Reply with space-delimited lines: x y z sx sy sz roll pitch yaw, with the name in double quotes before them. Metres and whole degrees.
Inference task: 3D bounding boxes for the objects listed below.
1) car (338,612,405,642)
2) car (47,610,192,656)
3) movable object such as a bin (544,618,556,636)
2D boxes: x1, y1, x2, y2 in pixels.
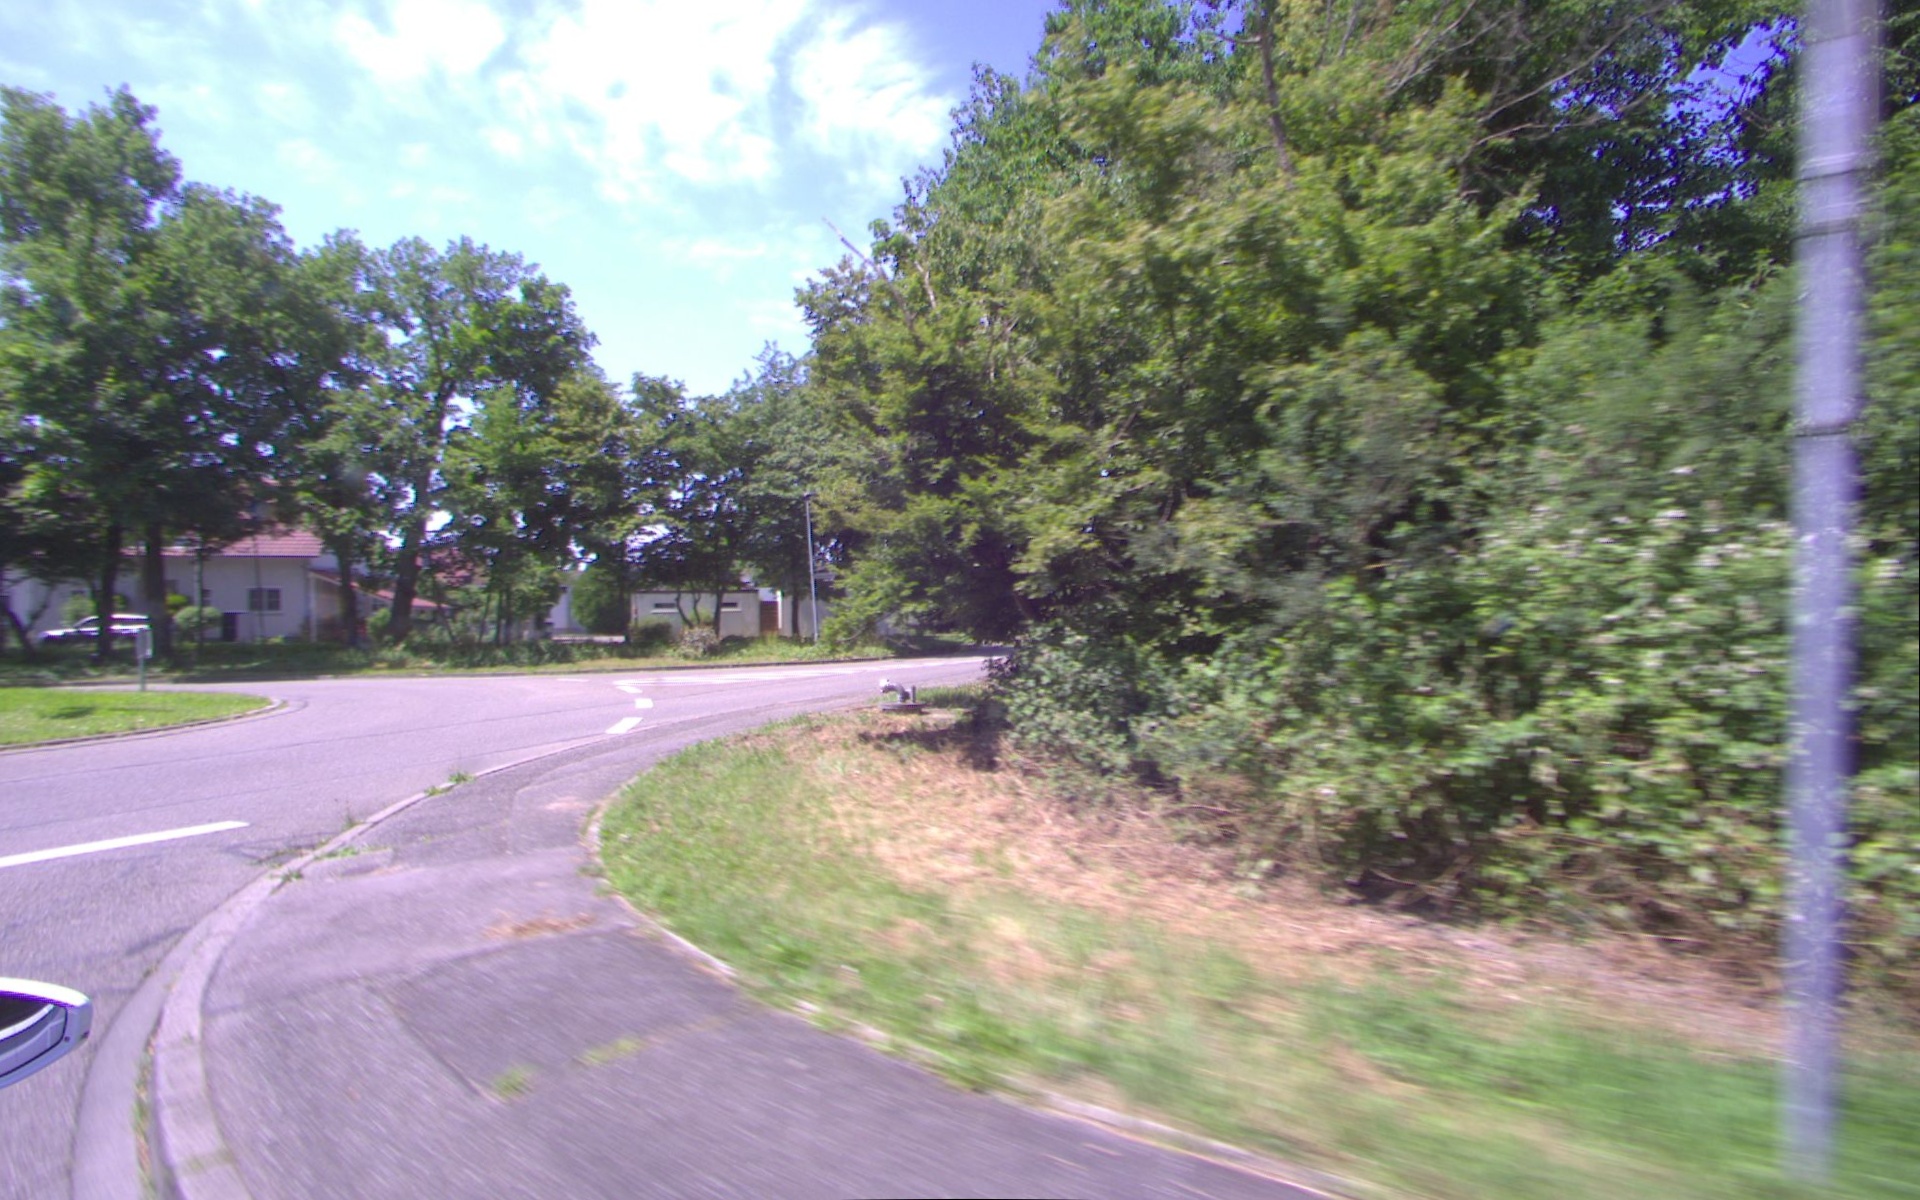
"car" -28.555 1.292 48.692 1.653 1.403 3.691 0 0 -11
"car" -33.176 1.297 39.635 4.069 1.727 1.664 0 -1 -15
"movable object such as a bin" -25.619 1.683 62.538 0.647 1.127 0.456 0 0 -15
